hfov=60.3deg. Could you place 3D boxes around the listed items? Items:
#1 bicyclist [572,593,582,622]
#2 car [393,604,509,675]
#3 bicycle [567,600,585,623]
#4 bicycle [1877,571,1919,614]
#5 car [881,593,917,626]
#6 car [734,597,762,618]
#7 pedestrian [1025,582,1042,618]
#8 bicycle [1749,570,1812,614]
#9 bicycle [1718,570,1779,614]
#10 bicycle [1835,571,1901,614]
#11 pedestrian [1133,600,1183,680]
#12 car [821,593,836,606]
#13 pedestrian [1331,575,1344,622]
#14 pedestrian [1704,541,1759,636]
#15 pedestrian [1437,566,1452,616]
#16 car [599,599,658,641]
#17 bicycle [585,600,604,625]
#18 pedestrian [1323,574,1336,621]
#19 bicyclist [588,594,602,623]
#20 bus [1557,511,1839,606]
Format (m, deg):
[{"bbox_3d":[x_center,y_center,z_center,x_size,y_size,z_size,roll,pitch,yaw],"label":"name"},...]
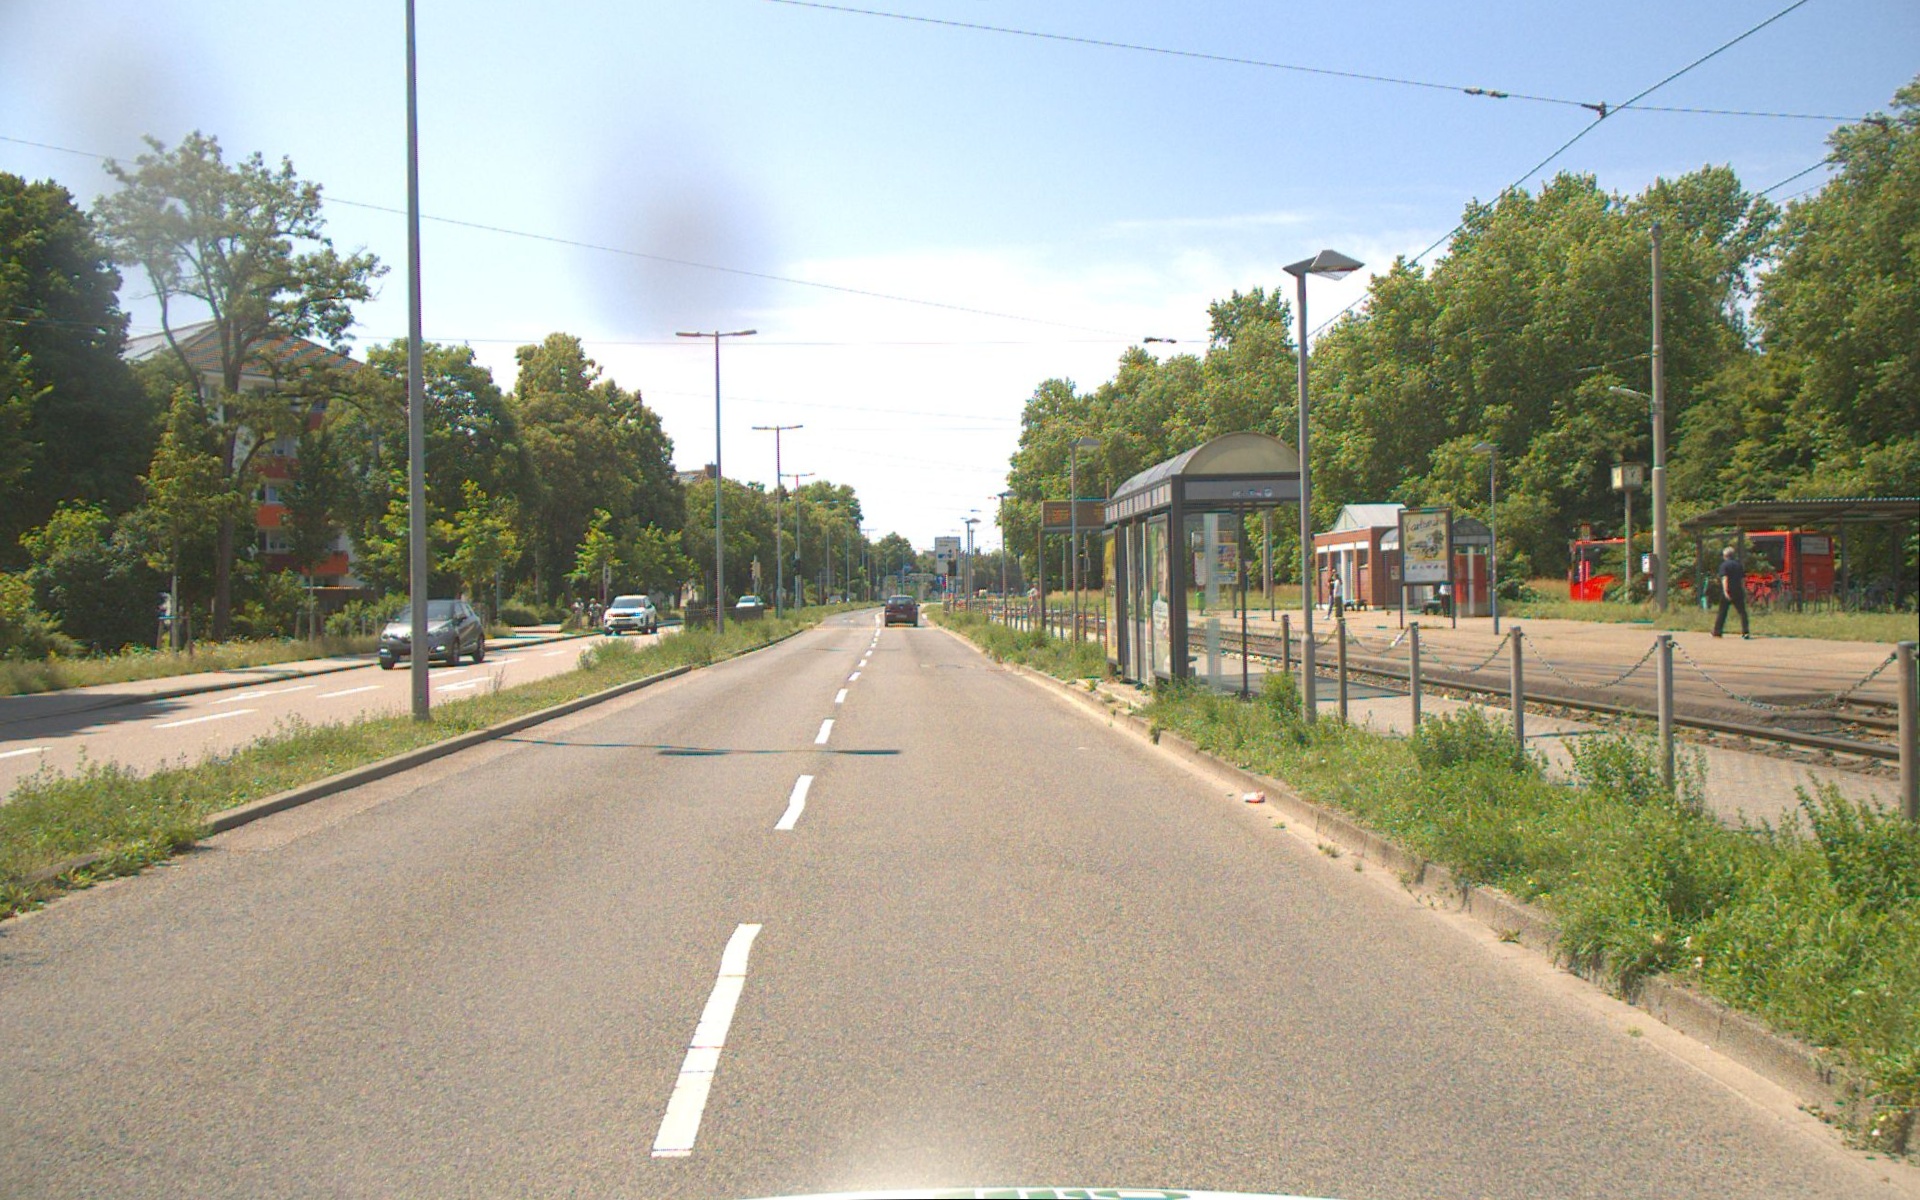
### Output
[{"bbox_3d":[-18.559,0.369,80.181,0.350,1.416,0.440,0,0,0],"label":"bicyclist"},{"bbox_3d":[-12.223,0.921,39.967,1.732,1.581,4.080,-2,-1,-4],"label":"car"},{"bbox_3d":[-18.581,0.575,80.076,0.542,1.113,1.379,0,-1,-1],"label":"bicycle"},{"bbox_3d":[26.397,-0.228,45.934,0.585,1.106,2.191,-2,2,-2],"label":"bicycle"},{"bbox_3d":[-2.908,0.438,79.689,1.668,1.503,3.715,-1,0,-2],"label":"car"},{"bbox_3d":[-16.441,0.570,128.498,1.784,1.600,4.345,-2,0,-3],"label":"car"},{"bbox_3d":[3.689,0.012,82.792,0.624,1.790,0.813,0,-1,-16],"label":"pedestrian"},{"bbox_3d":[22.797,-0.235,45.989,0.585,1.106,2.191,-2,2,-2],"label":"bicycle"},{"bbox_3d":[21.888,-0.240,45.953,0.585,1.106,2.191,-2,2,-2],"label":"bicycle"},{"bbox_3d":[25.249,-0.228,46.028,0.585,1.106,2.191,-2,2,-2],"label":"bicycle"},{"bbox_3d":[2.703,0.536,22.568,0.564,1.058,0.579,-2,0,-2],"label":"pedestrian"},{"bbox_3d":[-15.839,-0.077,199.532,1.722,1.570,4.157,-2,0,-5],"label":"car"},{"bbox_3d":[13.228,-0.054,57.968,0.353,1.624,0.483,0,-1,0],"label":"pedestrian"},{"bbox_3d":[14.876,-0.228,31.916,0.691,1.795,0.657,-2,0,-1],"label":"pedestrian"},{"bbox_3d":[15.752,-0.285,53.776,0.352,1.624,0.612,0,-1,2],"label":"pedestrian"},{"bbox_3d":[-14.346,0.872,71.795,1.822,1.789,4.477,0,-1,-3],"label":"car"},{"bbox_3d":[-17.740,0.604,80.338,0.576,1.153,1.615,-2,0,-2],"label":"bicycle"},{"bbox_3d":[13.062,-0.092,58.452,0.353,1.675,0.445,0,-1,0],"label":"pedestrian"},{"bbox_3d":[-17.726,0.397,80.298,0.534,1.369,0.755,-2,0,-3],"label":"bicyclist"},{"bbox_3d":[30.211,-1.530,68.701,2.720,3.499,12.363,0,-1,-21],"label":"bus"}]
